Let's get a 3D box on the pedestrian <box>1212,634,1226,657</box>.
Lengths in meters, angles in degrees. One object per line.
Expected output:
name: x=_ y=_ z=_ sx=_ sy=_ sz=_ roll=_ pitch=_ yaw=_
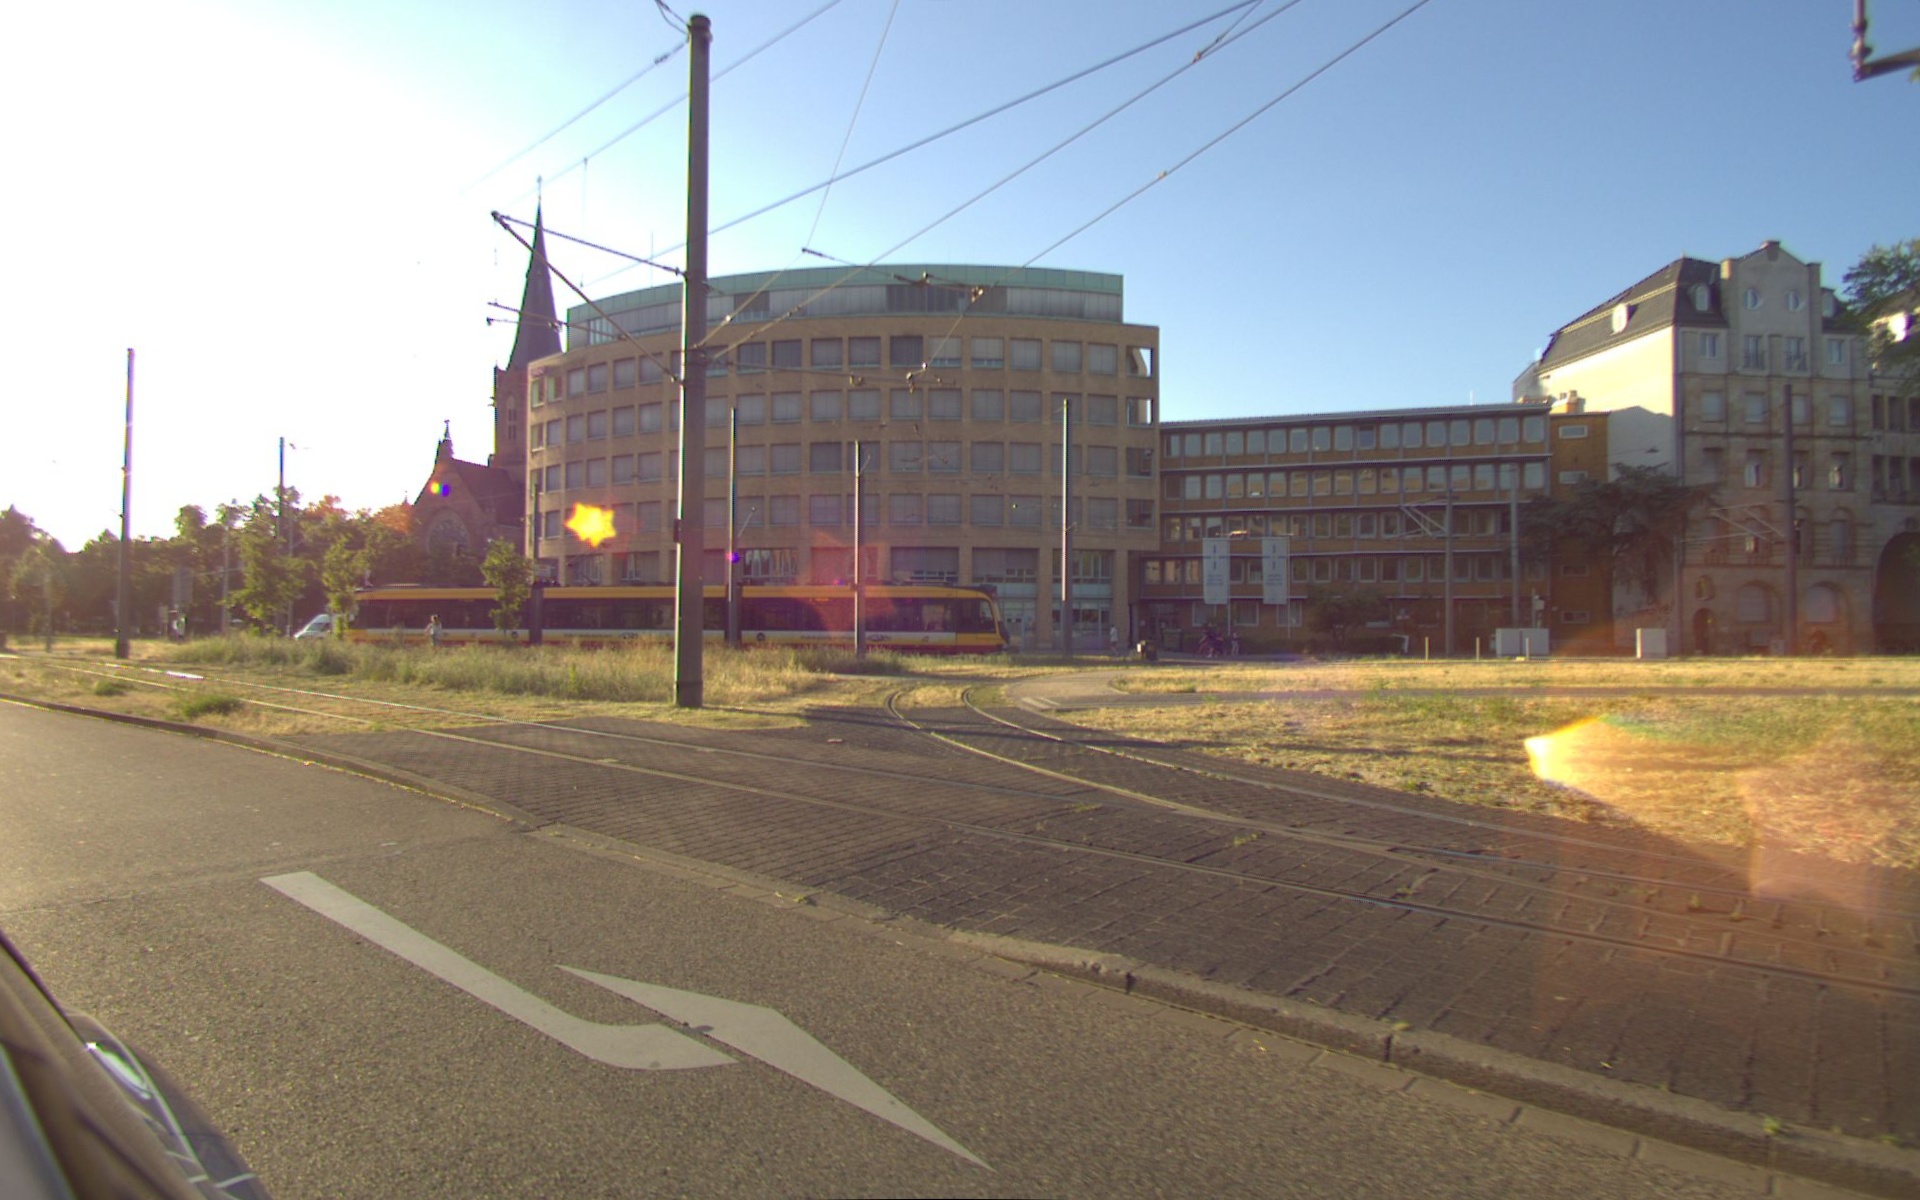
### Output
pedestrian: x=14.891 y=2.613 z=58.214 sx=0.676 sy=1.334 sz=0.566 roll=-1 pitch=-1 yaw=10

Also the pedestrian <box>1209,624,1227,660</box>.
pedestrian: x=15.022 y=2.421 z=58.925 sx=0.934 sy=2.028 sz=0.847 roll=-1 pitch=3 yaw=9

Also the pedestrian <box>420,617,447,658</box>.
pedestrian: x=-19.330 y=1.362 z=37.143 sx=0.698 sy=1.470 sz=0.664 roll=-1 pitch=-1 yaw=37

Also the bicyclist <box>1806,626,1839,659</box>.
bicyclist: x=45.498 y=2.229 z=53.379 sx=0.884 sy=1.703 sz=0.955 roll=-1 pitch=-1 yaw=-8

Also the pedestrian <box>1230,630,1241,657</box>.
pedestrian: x=15.960 y=2.522 z=58.714 sx=0.571 sy=1.550 sz=0.564 roll=-1 pitch=-1 yaw=14

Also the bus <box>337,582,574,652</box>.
bus: x=-26.867 y=0.966 z=53.876 sx=12.024 sy=3.482 sz=3.741 roll=-1 pitch=-1 yaw=16

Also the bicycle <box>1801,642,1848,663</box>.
bicycle: x=45.644 y=2.770 z=53.424 sx=2.167 sy=1.018 sz=0.473 roll=-1 pitch=-1 yaw=-5

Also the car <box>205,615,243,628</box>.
car: x=-108.232 y=3.122 z=148.836 sx=4.065 sy=1.836 sz=2.004 roll=-1 pitch=-1 yaw=-10

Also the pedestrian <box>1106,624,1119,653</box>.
pedestrian: x=9.051 y=2.291 z=59.960 sx=0.614 sy=1.705 sz=0.527 roll=-1 pitch=-1 yaw=23

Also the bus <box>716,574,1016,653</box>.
bus: x=-4.391 y=0.701 z=47.474 sx=13.581 sy=3.388 sz=3.743 roll=-1 pitch=-1 yaw=14

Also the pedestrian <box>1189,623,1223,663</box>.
pedestrian: x=13.107 y=2.269 z=53.882 sx=1.621 sy=2.110 sz=1.052 roll=-1 pitch=-1 yaw=20

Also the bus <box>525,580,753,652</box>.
bus: x=-16.034 y=0.856 z=50.679 sx=10.641 sy=3.356 sz=3.741 roll=-1 pitch=-1 yaw=16

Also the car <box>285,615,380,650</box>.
car: x=-53.730 y=2.764 z=86.872 sx=2.289 sy=2.900 sz=7.159 roll=-1 pitch=-2 yaw=18
